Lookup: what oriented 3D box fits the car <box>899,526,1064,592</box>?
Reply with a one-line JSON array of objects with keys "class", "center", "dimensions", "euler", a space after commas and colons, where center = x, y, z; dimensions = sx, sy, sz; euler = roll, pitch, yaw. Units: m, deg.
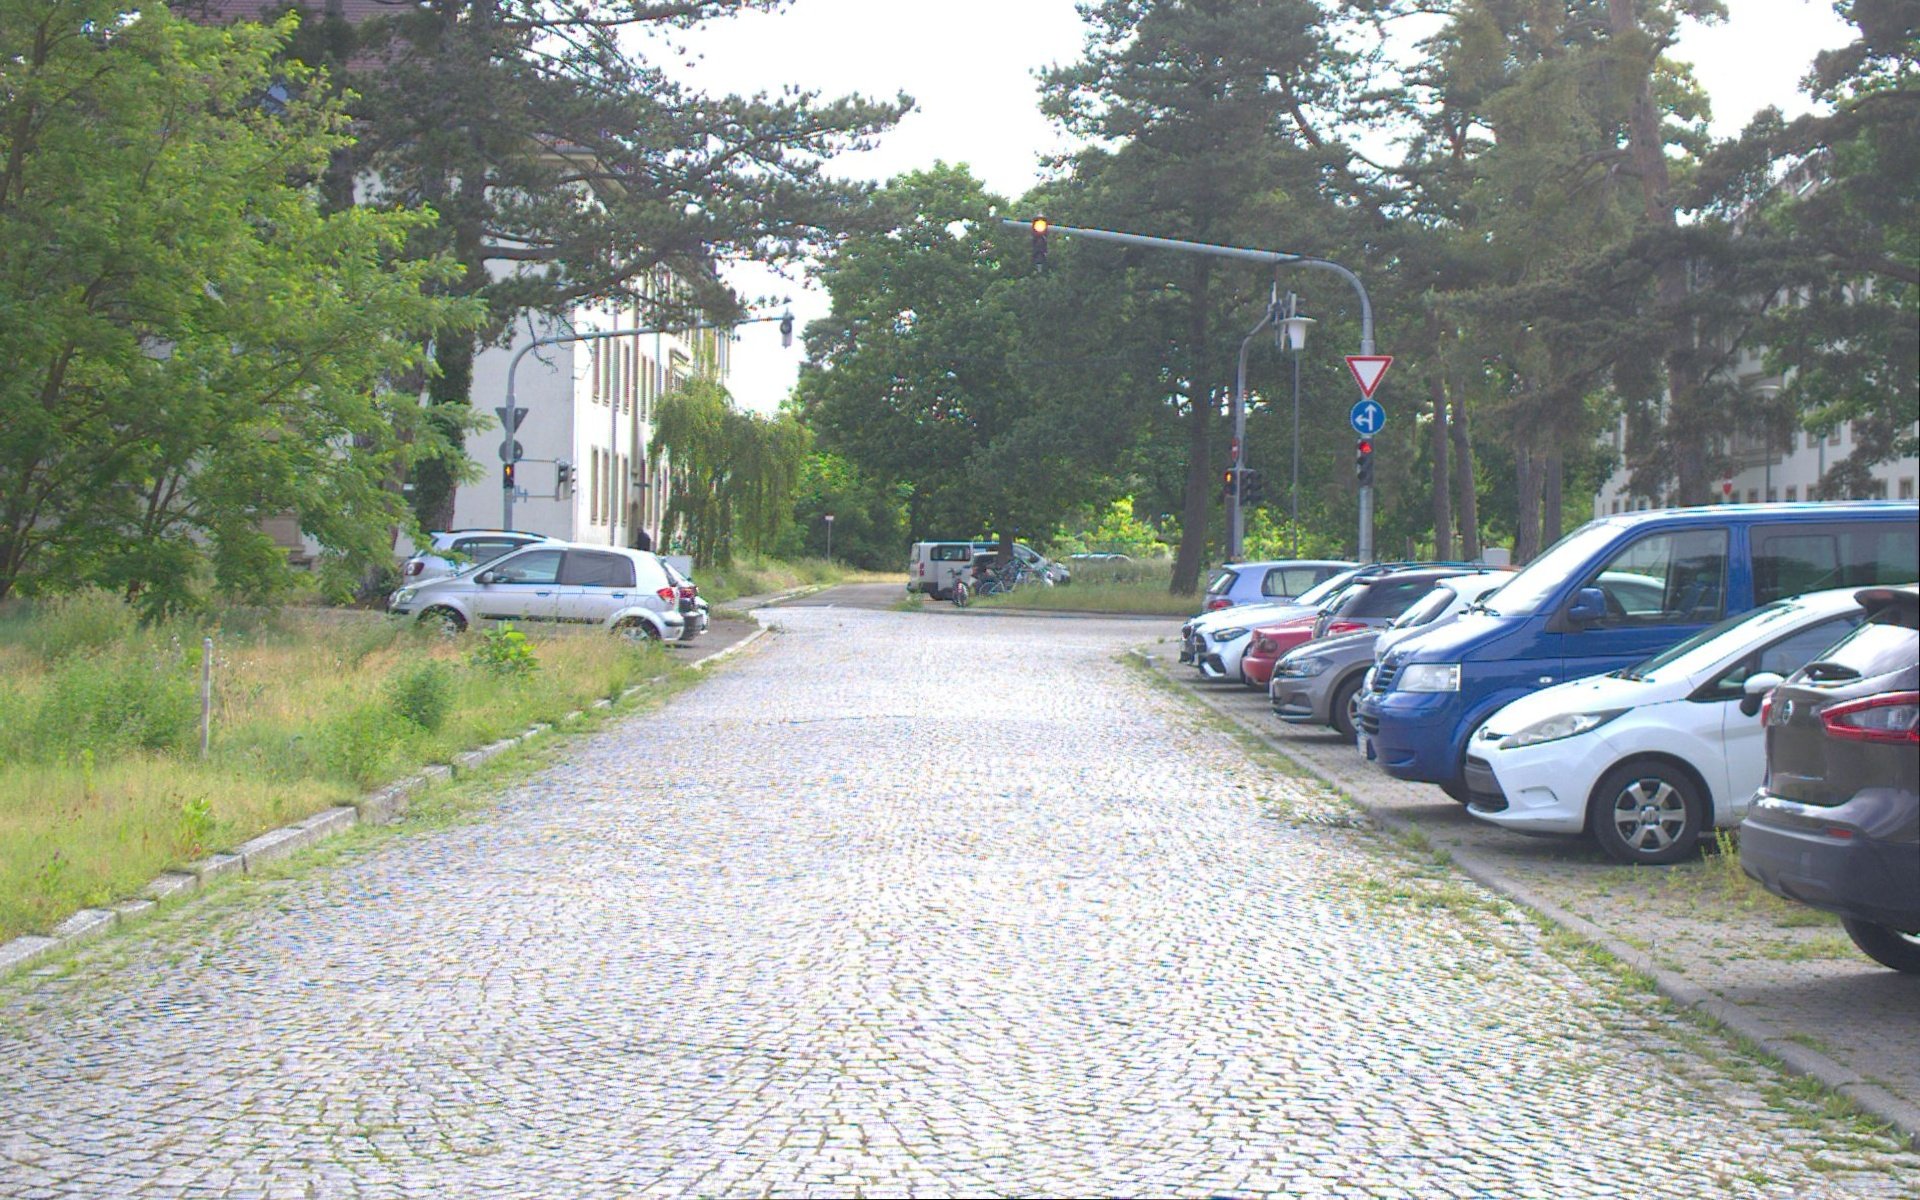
[{"class": "car", "center": [0.699, -1.337, 112.155], "dimensions": [5.049, 2.007, 2.001], "euler": [1, 1, -10]}]

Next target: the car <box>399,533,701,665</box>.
[{"class": "car", "center": [-5.591, -0.028, 47.059], "dimensions": [3.986, 1.700, 2.001], "euler": [1, 1, -6]}]

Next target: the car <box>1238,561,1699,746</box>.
[{"class": "car", "center": [4.387, 0.453, 29.892], "dimensions": [3.597, 1.501, 1.665], "euler": [1, 1, -11]}]

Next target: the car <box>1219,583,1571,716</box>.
[{"class": "car", "center": [4.455, 0.503, 35.487], "dimensions": [3.291, 1.263, 1.664], "euler": [1, 1, -6]}]

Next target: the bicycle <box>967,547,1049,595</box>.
[{"class": "bicycle", "center": [1.328, -0.814, 94.920], "dimensions": [2.160, 1.264, 0.812], "euler": [1, 1, -6]}]

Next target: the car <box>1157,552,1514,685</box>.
[{"class": "car", "center": [4.639, 0.220, 42.779], "dimensions": [4.122, 1.538, 1.664], "euler": [1, 1, -6]}]

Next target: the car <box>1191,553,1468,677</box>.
[{"class": "car", "center": [4.857, 0.186, 45.349], "dimensions": [3.388, 1.538, 1.391], "euler": [1, 1, -6]}]

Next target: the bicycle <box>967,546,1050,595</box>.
[{"class": "bicycle", "center": [1.334, -0.811, 94.333], "dimensions": [2.160, 1.264, 0.812], "euler": [1, 1, -6]}]

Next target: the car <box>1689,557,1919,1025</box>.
[{"class": "car", "center": [4.875, 0.683, 12.639], "dimensions": [3.950, 1.575, 1.762], "euler": [1, 1, -1]}]

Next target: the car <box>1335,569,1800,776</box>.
[{"class": "car", "center": [4.723, 0.545, 27.017], "dimensions": [3.292, 1.499, 1.664], "euler": [1, 1, -2]}]

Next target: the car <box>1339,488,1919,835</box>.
[{"class": "car", "center": [4.899, 0.366, 21.508], "dimensions": [4.782, 2.033, 1.738], "euler": [1, 1, -2]}]

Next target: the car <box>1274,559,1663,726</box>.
[{"class": "car", "center": [4.832, 0.392, 32.862], "dimensions": [3.291, 1.499, 1.665], "euler": [1, 1, -11]}]

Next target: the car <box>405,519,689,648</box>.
[{"class": "car", "center": [-5.994, -0.247, 49.976], "dimensions": [3.986, 1.744, 1.927], "euler": [1, 1, -7]}]

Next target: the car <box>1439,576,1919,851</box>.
[{"class": "car", "center": [4.655, 0.593, 19.054], "dimensions": [3.722, 1.419, 1.655], "euler": [0, 1, -2]}]

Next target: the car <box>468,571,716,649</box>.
[{"class": "car", "center": [-5.599, 0.141, 52.360], "dimensions": [3.670, 1.090, 1.647], "euler": [1, 1, -6]}]

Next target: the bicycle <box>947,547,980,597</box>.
[{"class": "bicycle", "center": [0.093, -0.740, 90.578], "dimensions": [0.810, 1.264, 1.973], "euler": [1, 1, 1]}]

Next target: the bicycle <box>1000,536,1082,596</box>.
[{"class": "bicycle", "center": [2.260, -0.955, 95.625], "dimensions": [2.160, 1.610, 0.812], "euler": [1, 1, -6]}]

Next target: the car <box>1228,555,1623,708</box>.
[{"class": "car", "center": [5.071, 0.333, 37.730], "dimensions": [3.986, 1.538, 1.664], "euler": [1, 1, -6]}]

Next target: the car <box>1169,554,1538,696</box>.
[{"class": "car", "center": [4.547, 0.280, 40.034], "dimensions": [3.986, 1.538, 1.664], "euler": [1, 1, -6]}]

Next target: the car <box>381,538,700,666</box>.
[{"class": "car", "center": [-5.410, 0.011, 44.570], "dimensions": [3.986, 1.546, 2.001], "euler": [1, 1, -6]}]

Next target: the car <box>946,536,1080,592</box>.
[{"class": "car", "center": [1.675, -1.146, 108.876], "dimensions": [3.986, 1.638, 2.000], "euler": [1, 1, -6]}]

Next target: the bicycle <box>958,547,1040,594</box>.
[{"class": "bicycle", "center": [1.086, -0.830, 96.134], "dimensions": [2.160, 1.264, 0.812], "euler": [1, 1, -6]}]
